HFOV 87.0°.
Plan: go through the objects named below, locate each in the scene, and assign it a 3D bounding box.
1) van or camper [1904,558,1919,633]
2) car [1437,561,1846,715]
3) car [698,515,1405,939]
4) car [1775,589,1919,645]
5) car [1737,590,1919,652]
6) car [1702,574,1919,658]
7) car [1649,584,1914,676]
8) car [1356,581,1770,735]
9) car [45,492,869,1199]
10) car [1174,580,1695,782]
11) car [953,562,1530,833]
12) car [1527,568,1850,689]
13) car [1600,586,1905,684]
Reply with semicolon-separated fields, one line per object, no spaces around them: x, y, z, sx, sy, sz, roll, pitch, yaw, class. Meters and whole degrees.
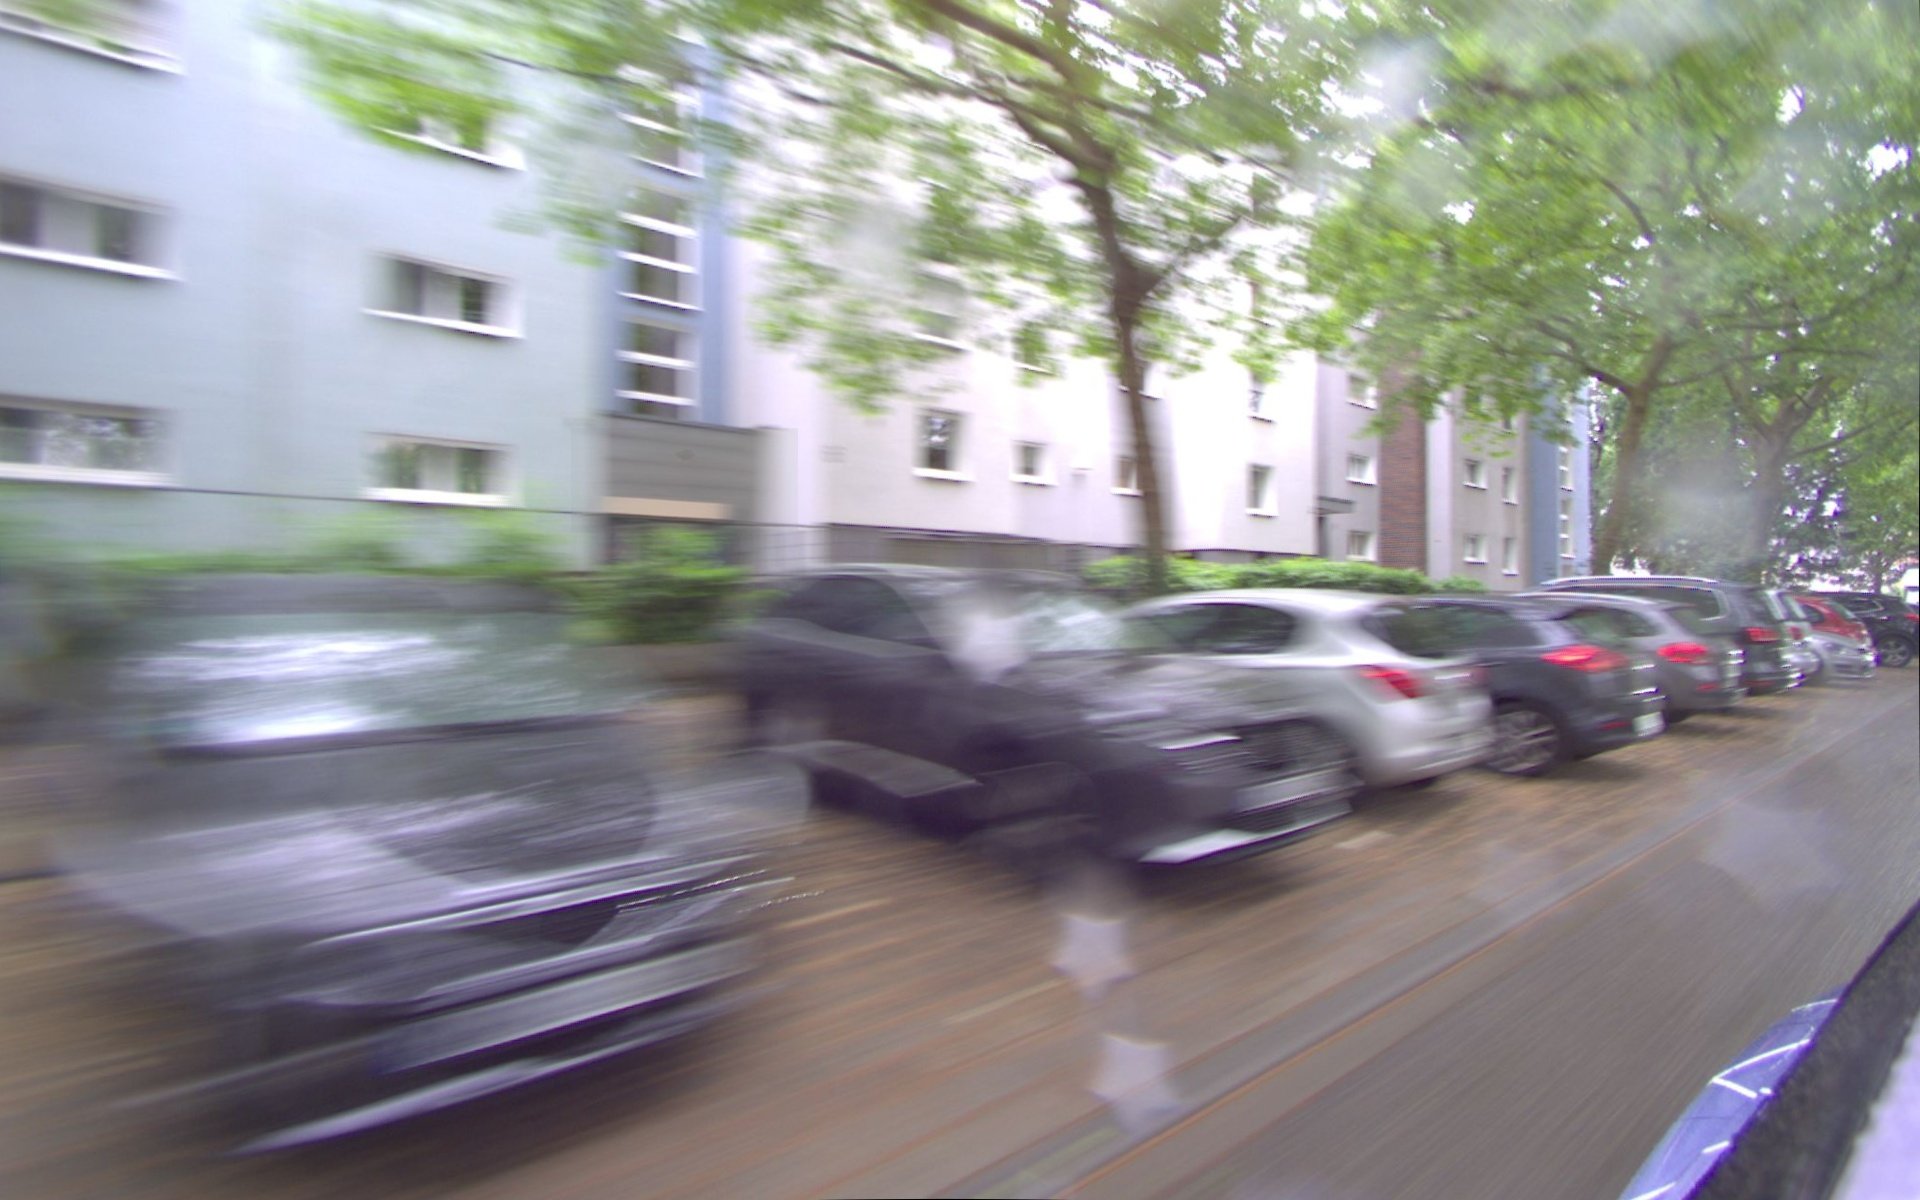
39.362;-0.203;39.817;6.741;2.843;2.323;0;-1;-40;van or camper
9.187;0.486;13.977;1.787;1.784;4.345;0;-1;-40;car
0.224;0.516;6.229;1.880;1.677;4.216;0;-1;-41;car
27.097;0.517;30.297;3.720;1.622;1.791;-1;-1;20;car
24.265;0.591;27.988;3.949;1.622;1.791;-1;-1;20;car
19.311;0.339;22.771;3.822;1.719;1.824;2;0;22;car
15.873;0.493;19.706;1.706;1.555;3.714;0;1;-38;car
7.109;0.624;12.278;1.602;1.557;3.993;0;-1;-40;car
-2.274;0.600;3.857;1.750;1.550;4.045;0;-1;-43;car
4.156;0.622;9.362;1.657;1.460;4.038;0;-1;-43;car
1.988;0.594;8.143;1.717;1.604;4.214;0;-1;-43;car
11.879;0.449;16.717;1.769;1.749;3.994;0;-1;-40;car
13.903;0.583;17.927;1.770;1.532;3.991;0;-1;-42;car
